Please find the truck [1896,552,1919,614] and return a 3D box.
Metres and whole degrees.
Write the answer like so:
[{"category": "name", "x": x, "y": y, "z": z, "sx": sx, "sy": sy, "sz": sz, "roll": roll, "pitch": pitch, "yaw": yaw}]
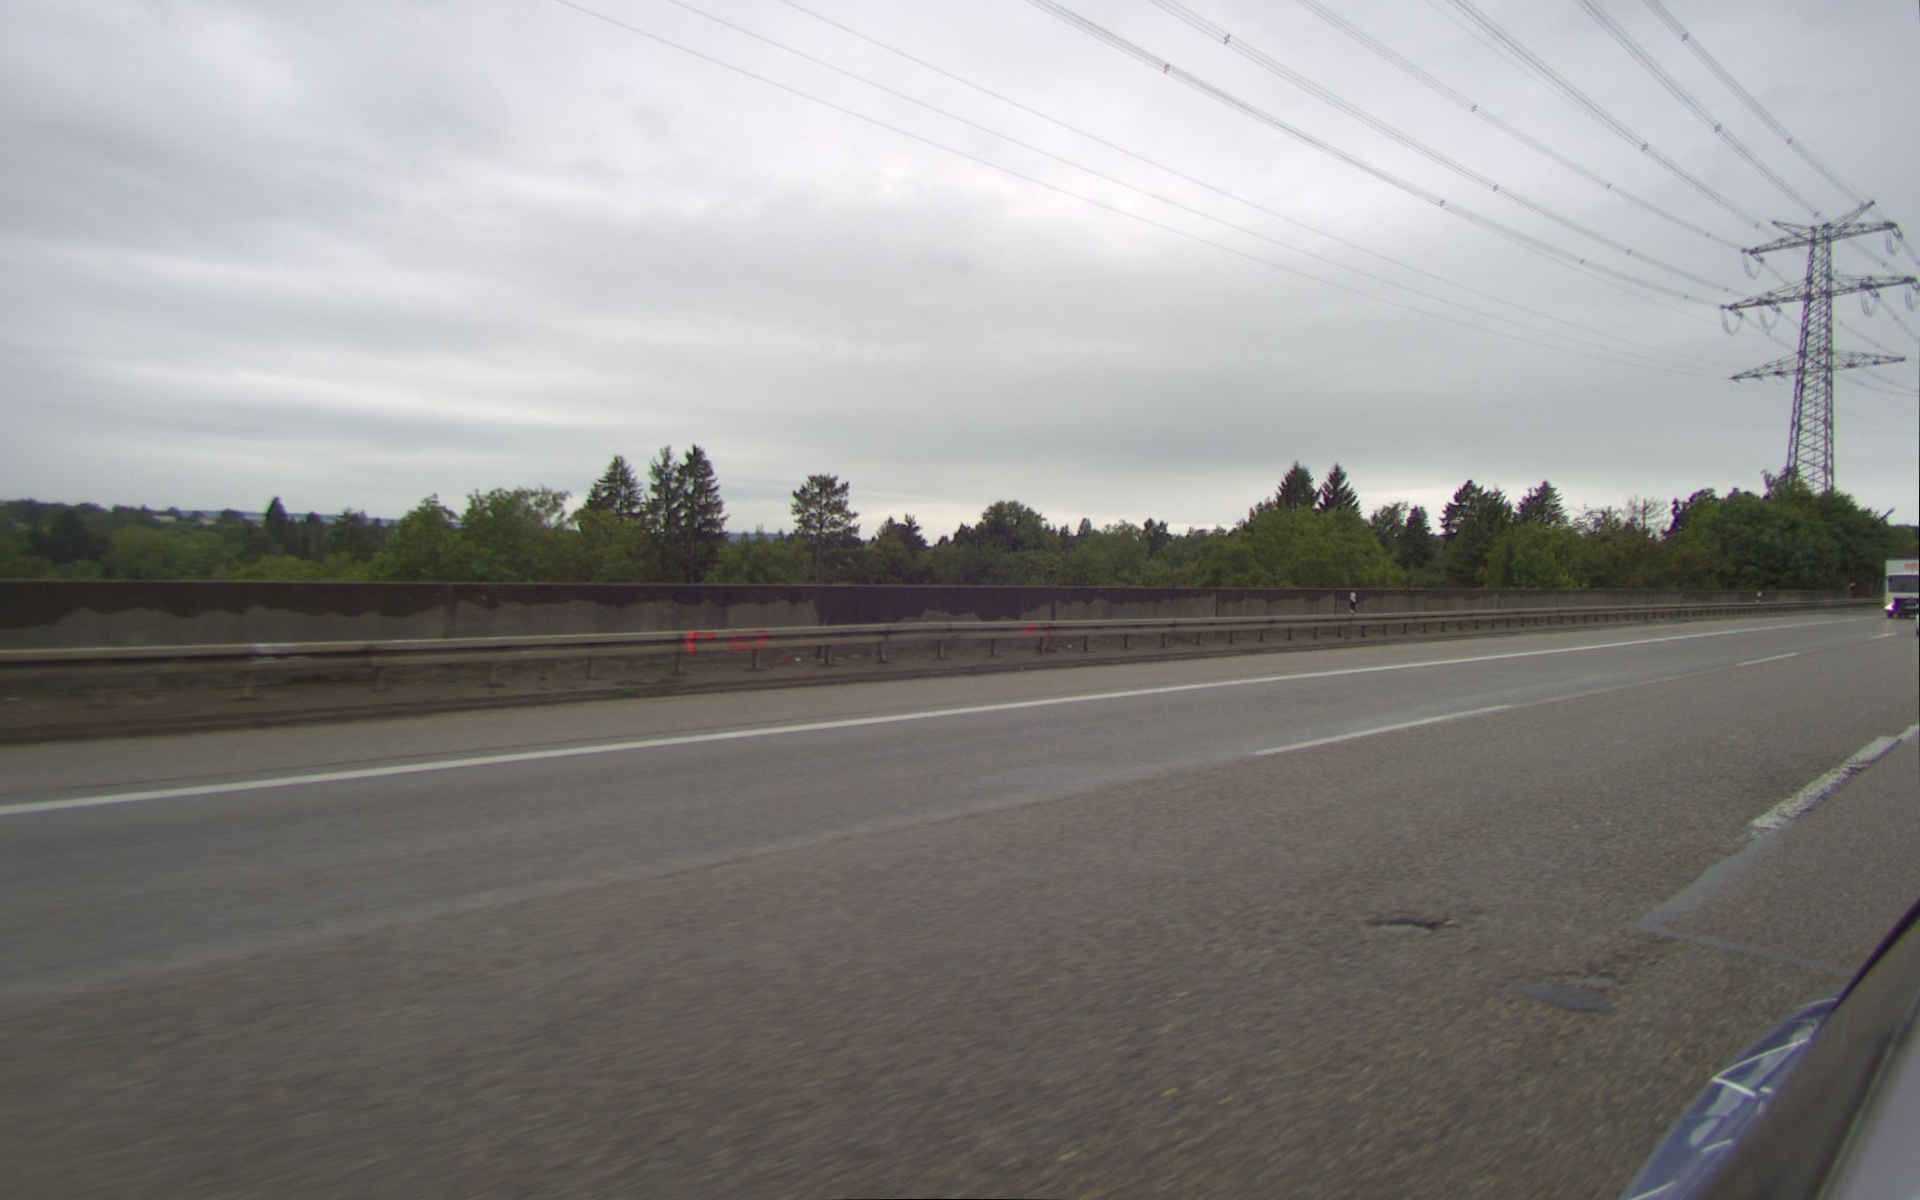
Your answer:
[{"category": "truck", "x": 55.365, "y": -0.923, "z": 57.354, "sx": 6.809, "sy": 3.386, "sz": 2.647, "roll": 0, "pitch": 1, "yaw": -41}]
